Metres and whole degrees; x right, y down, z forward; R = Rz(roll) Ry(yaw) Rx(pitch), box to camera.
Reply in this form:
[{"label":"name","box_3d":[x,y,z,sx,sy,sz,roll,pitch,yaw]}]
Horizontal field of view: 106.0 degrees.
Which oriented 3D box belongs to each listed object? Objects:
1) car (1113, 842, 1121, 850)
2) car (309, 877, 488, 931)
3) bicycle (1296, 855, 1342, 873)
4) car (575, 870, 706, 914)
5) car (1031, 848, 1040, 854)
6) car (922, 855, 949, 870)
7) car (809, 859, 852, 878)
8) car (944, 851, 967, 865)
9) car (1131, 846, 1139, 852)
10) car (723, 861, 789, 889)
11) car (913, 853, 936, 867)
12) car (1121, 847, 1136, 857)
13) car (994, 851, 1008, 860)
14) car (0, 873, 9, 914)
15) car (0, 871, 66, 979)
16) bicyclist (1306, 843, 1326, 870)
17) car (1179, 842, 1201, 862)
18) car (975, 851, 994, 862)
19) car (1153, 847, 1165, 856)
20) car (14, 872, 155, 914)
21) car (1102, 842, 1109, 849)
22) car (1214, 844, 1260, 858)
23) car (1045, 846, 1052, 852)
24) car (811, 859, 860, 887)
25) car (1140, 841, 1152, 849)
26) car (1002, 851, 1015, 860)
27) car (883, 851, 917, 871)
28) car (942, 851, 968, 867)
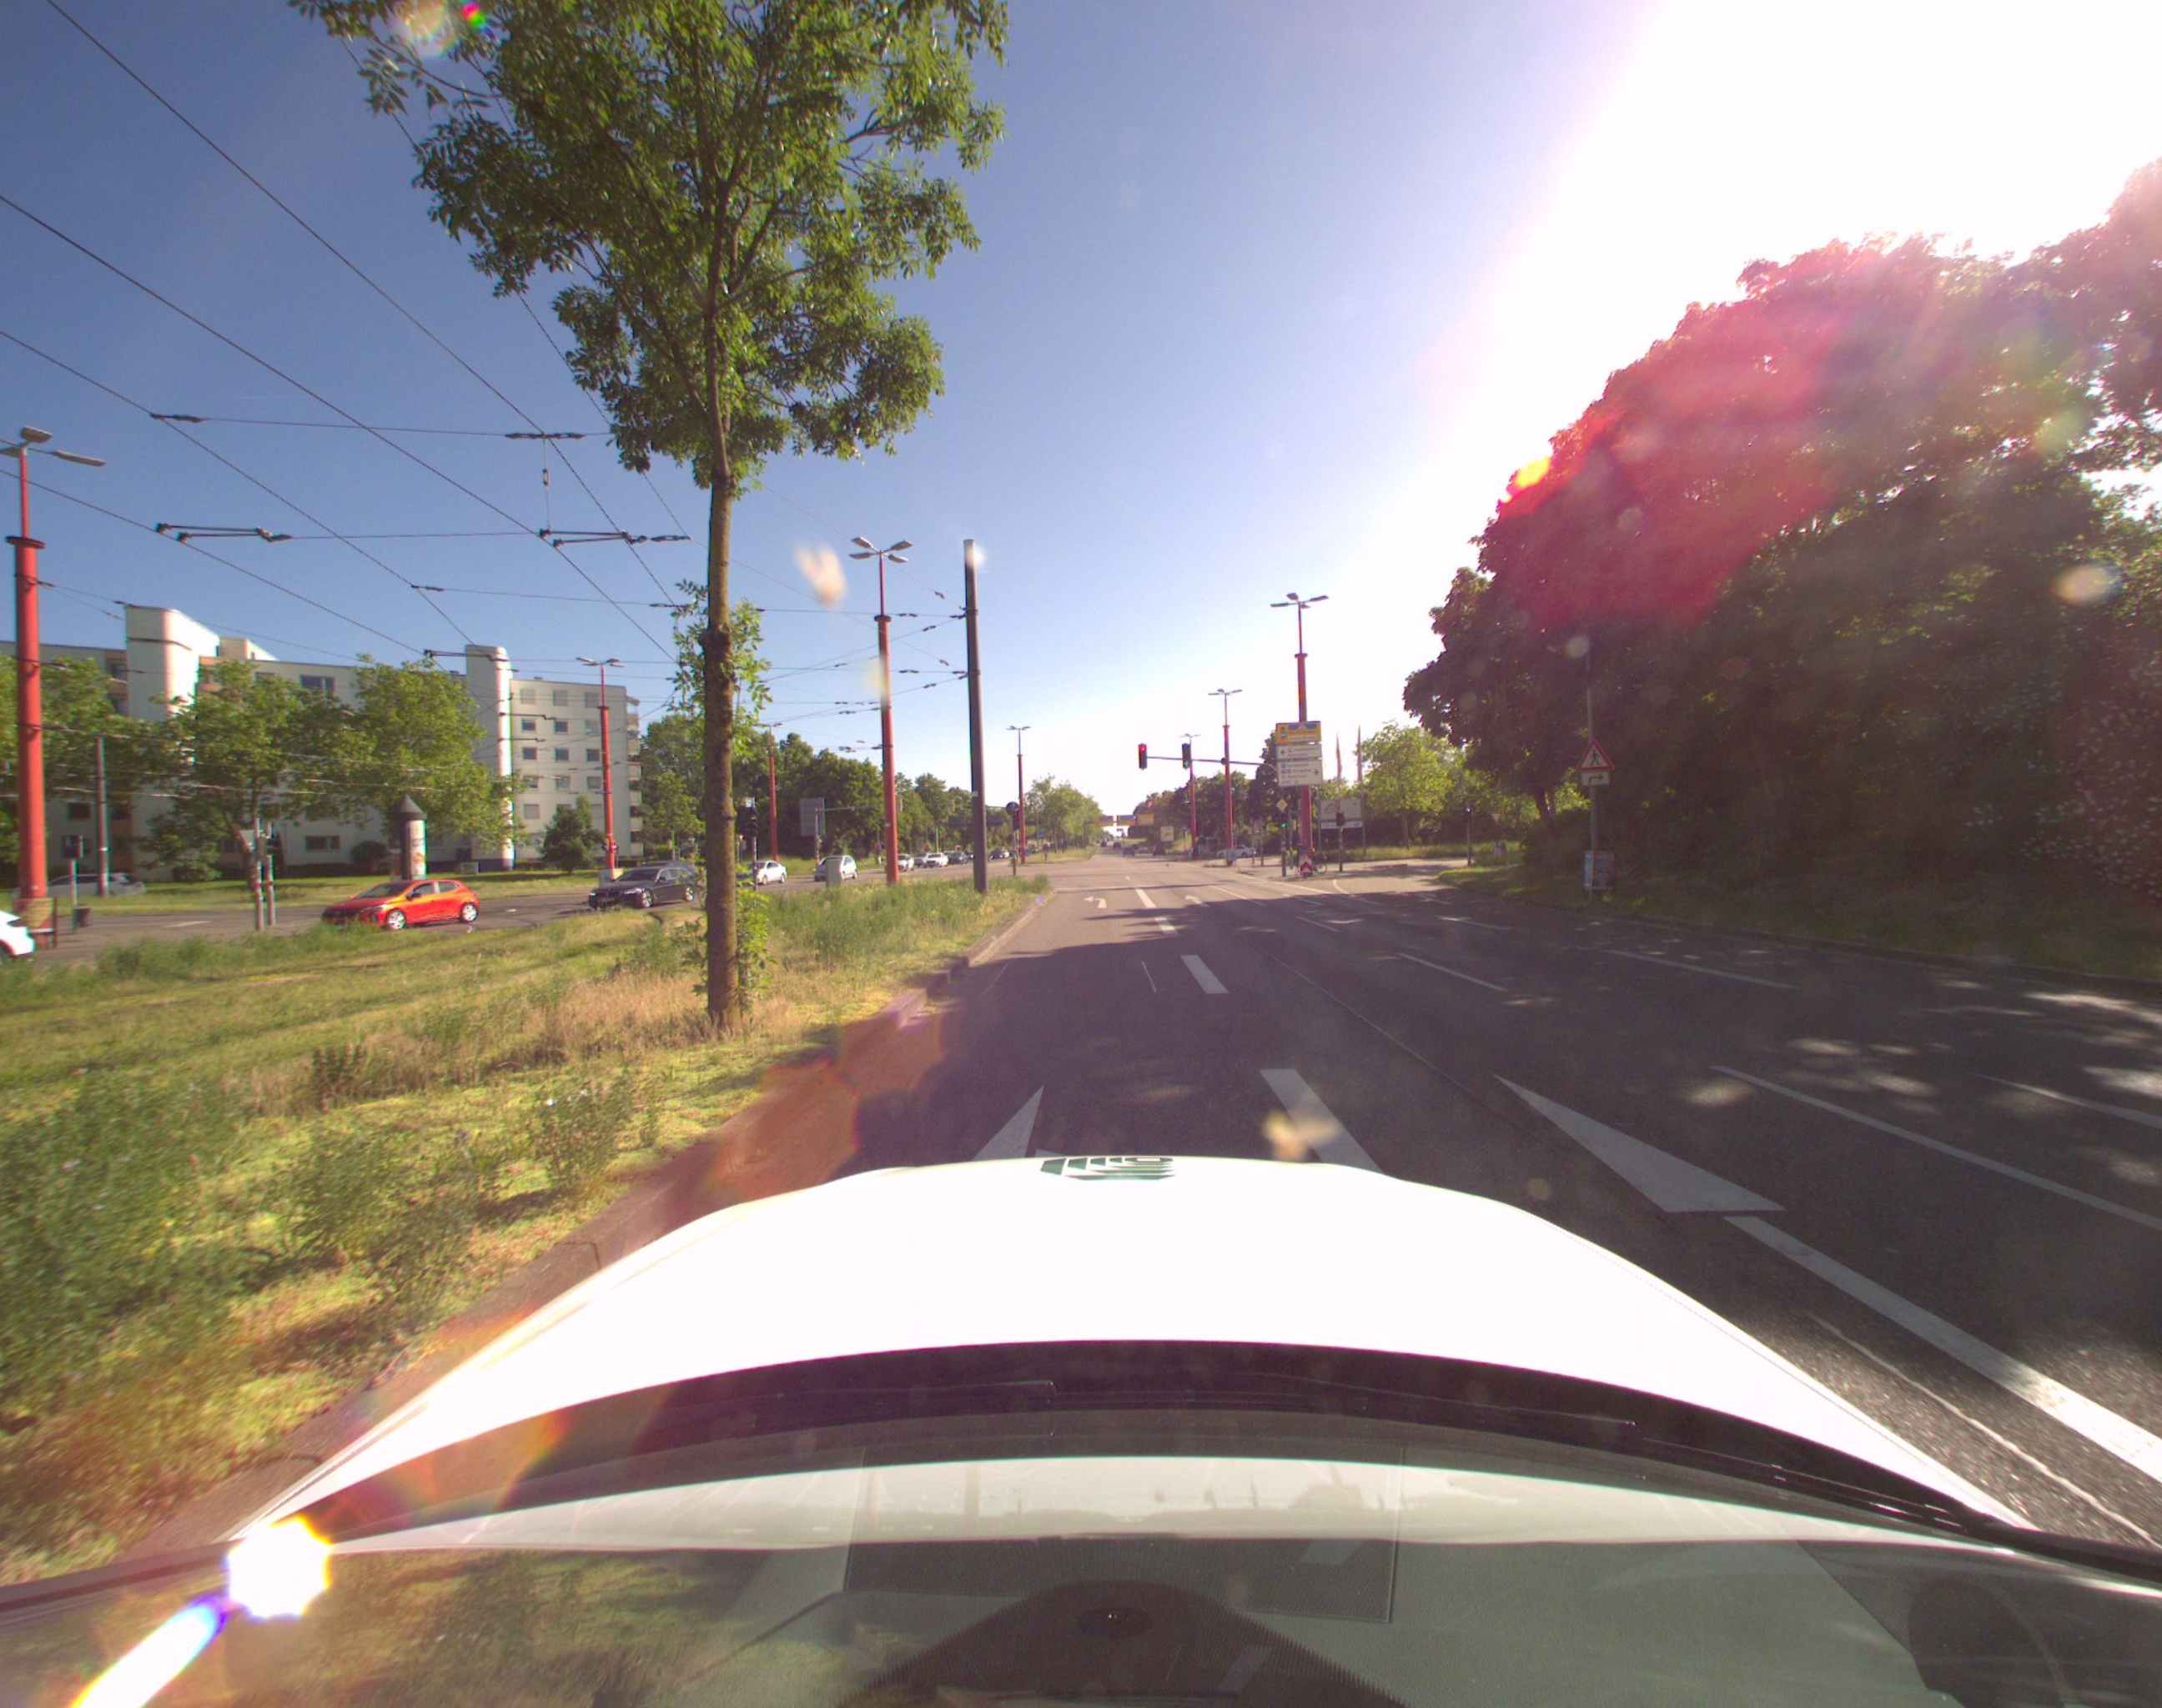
[{"label":"car","box_3d":[10.023,-2.285,226.021,2.146,2.013,4.002,-2,0,1]},{"label":"car","box_3d":[-19.810,1.406,23.906,1.651,1.297,4.178,-1,0,1]},{"label":"bicycle","box_3d":[11.855,0.487,40.574,2.162,0.878,0.558,-1,0,-10]},{"label":"car","box_3d":[-16.381,1.369,30.649,1.985,1.409,4.994,-1,0,3]},{"label":"car","box_3d":[-10.876,-0.635,195.696,1.998,1.308,3.998,-2,0,-1]},{"label":"car","box_3d":[-14.631,0.810,82.205,1.697,1.423,4.644,-2,0,1]},{"label":"car","box_3d":[-19.223,1.096,62.610,1.988,1.374,4.398,-1,0,-1]},{"label":"car","box_3d":[-15.442,0.521,100.099,1.830,1.601,4.442,-2,0,3]},{"label":"car","box_3d":[13.571,-1.304,205.526,1.986,1.540,4.002,-1,0,2]},{"label":"car","box_3d":[-19.420,1.221,48.924,1.986,1.432,4.694,-2,0,1]},{"label":"car","box_3d":[-17.624,0.649,91.940,1.870,1.576,4.000,-1,0,0]},{"label":"car","box_3d":[7.364,-0.357,126.823,1.989,1.496,3.996,-2,0,-3]},{"label":"car","box_3d":[-12.604,0.202,128.347,1.543,1.377,4.263,-2,0,1]},{"label":"car","box_3d":[-62.920,2.255,44.980,1.875,2.310,4.016,-1,0,15]},{"label":"car","box_3d":[-17.337,1.104,10.791,1.888,1.621,4.657,-1,0,0]},{"label":"bicyclist","box_3d":[11.720,0.111,40.607,0.739,1.341,0.706,-1,0,-9]},{"label":"car","box_3d":[10.889,-0.243,81.220,1.981,1.887,4.012,-2,0,11]},{"label":"car","box_3d":[-13.027,0.334,110.105,1.870,1.485,4.604,-1,0,0]},{"label":"car","box_3d":[11.992,-0.348,125.306,1.731,1.341,3.083,-2,0,2]},{"label":"car","box_3d":[-54.694,2.075,44.826,4.421,2.013,1.981,-2,0,-31]},{"label":"car","box_3d":[7.606,-2.472,248.994,1.988,2.013,3.998,-1,0,-1]},{"label":"car","box_3d":[16.560,-0.311,86.630,4.335,1.371,2.074,-2,0,30]},{"label":"car","box_3d":[-9.344,-1.476,232.924,1.619,1.739,4.002,-2,0,2]},{"label":"car","box_3d":[-15.508,1.153,51.643,1.756,1.608,3.760,-2,0,2]},{"label":"car","box_3d":[12.381,-1.755,154.928,1.986,1.540,4.002,-1,0,2]},{"label":"car","box_3d":[-12.269,0.315,137.794,1.599,1.459,3.952,-2,0,2]},{"label":"car","box_3d":[-15.115,0.581,68.196,1.582,1.472,4.186,-3,1,3]},{"label":"car","box_3d":[-14.331,0.547,92.829,1.985,1.594,4.468,-2,0,3]}]
